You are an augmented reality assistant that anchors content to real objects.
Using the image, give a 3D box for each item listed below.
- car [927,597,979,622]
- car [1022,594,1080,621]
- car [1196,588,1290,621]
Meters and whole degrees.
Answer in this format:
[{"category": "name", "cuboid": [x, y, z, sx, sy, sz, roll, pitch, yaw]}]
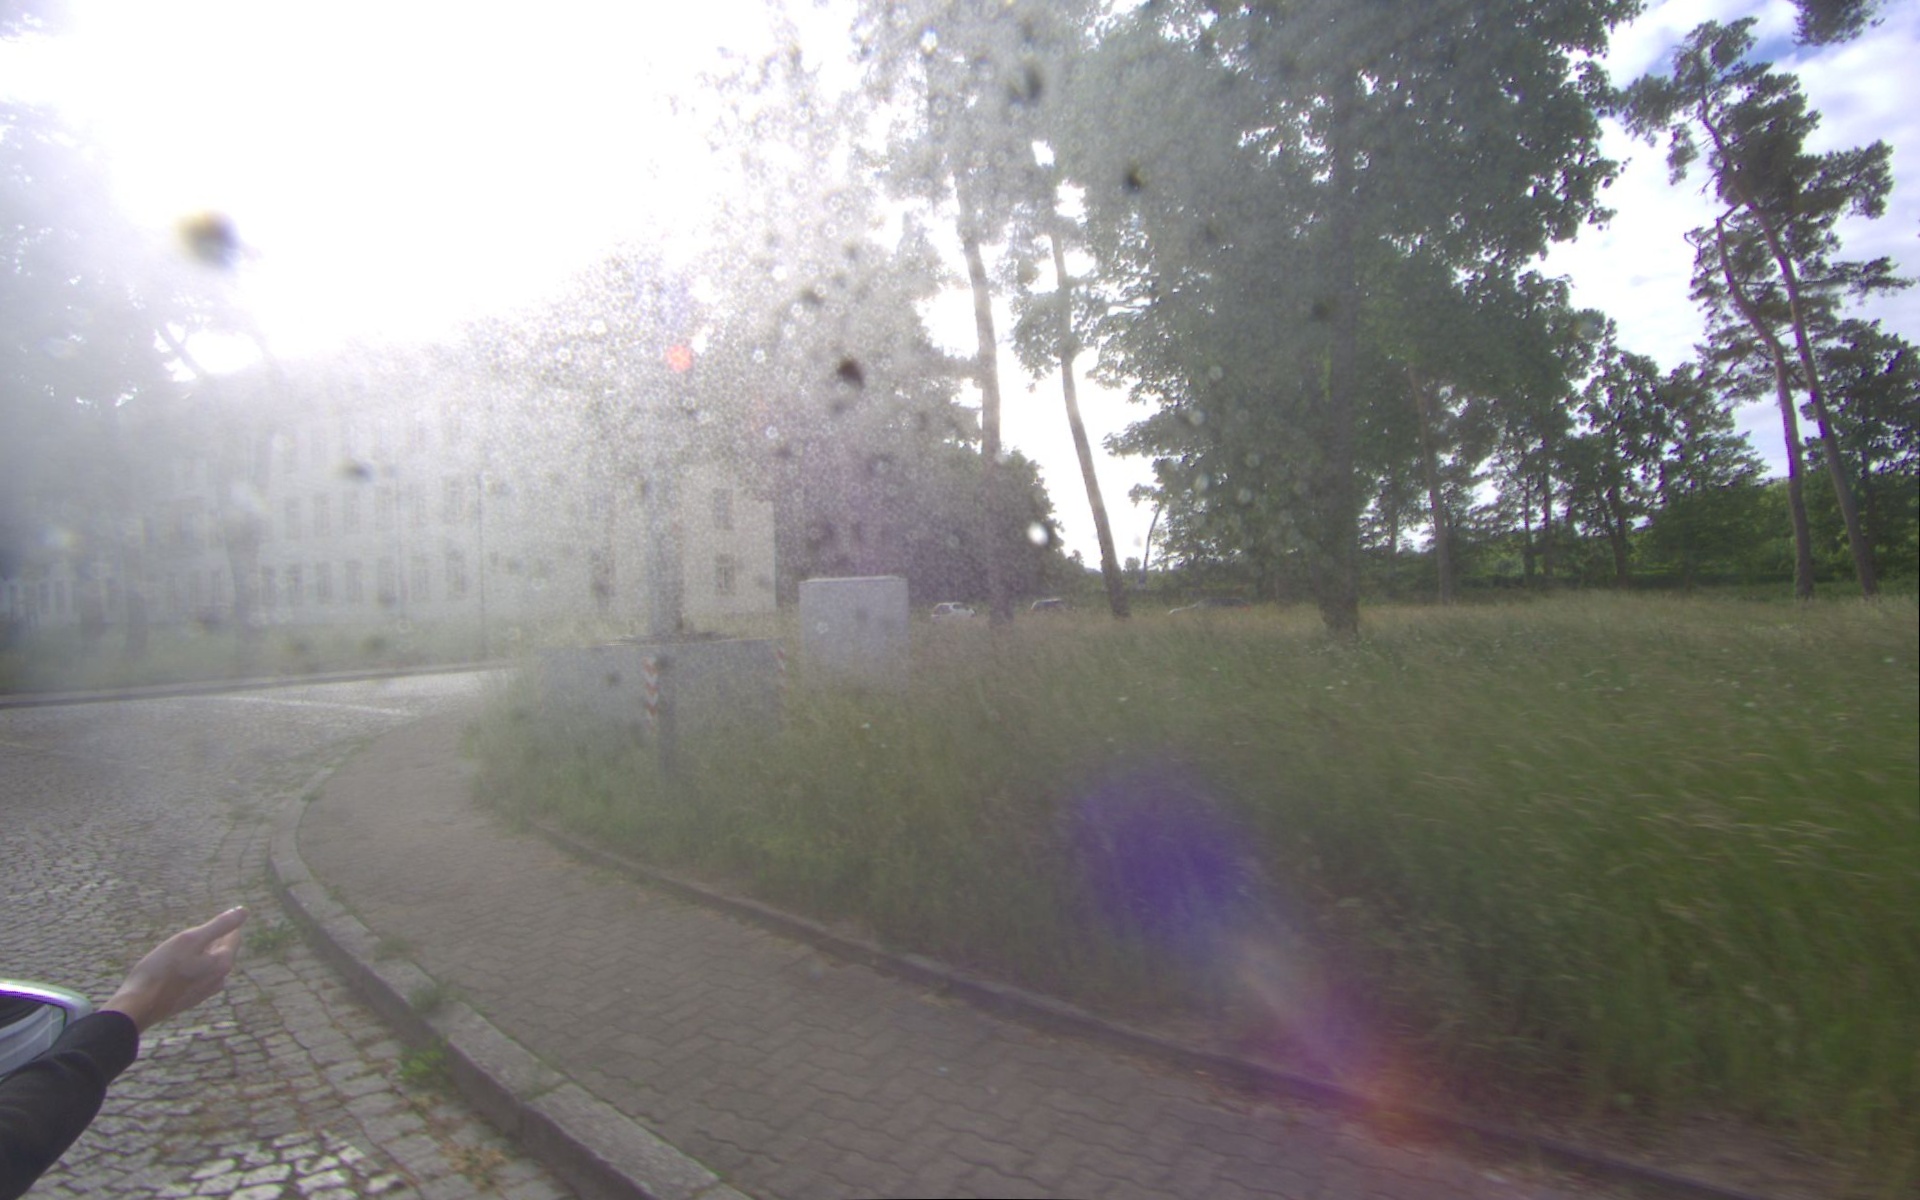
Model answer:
[{"category": "car", "cuboid": [-0.446, 0.600, 66.072, 1.748, 1.554, 3.674, -1, 0, 32]}, {"category": "car", "cuboid": [5.619, 0.463, 61.539, 1.971, 1.554, 3.978, -1, 0, 32]}, {"category": "car", "cuboid": [14.832, 0.233, 52.523, 4.383, 1.607, 1.990, -1, 1, 30]}]
